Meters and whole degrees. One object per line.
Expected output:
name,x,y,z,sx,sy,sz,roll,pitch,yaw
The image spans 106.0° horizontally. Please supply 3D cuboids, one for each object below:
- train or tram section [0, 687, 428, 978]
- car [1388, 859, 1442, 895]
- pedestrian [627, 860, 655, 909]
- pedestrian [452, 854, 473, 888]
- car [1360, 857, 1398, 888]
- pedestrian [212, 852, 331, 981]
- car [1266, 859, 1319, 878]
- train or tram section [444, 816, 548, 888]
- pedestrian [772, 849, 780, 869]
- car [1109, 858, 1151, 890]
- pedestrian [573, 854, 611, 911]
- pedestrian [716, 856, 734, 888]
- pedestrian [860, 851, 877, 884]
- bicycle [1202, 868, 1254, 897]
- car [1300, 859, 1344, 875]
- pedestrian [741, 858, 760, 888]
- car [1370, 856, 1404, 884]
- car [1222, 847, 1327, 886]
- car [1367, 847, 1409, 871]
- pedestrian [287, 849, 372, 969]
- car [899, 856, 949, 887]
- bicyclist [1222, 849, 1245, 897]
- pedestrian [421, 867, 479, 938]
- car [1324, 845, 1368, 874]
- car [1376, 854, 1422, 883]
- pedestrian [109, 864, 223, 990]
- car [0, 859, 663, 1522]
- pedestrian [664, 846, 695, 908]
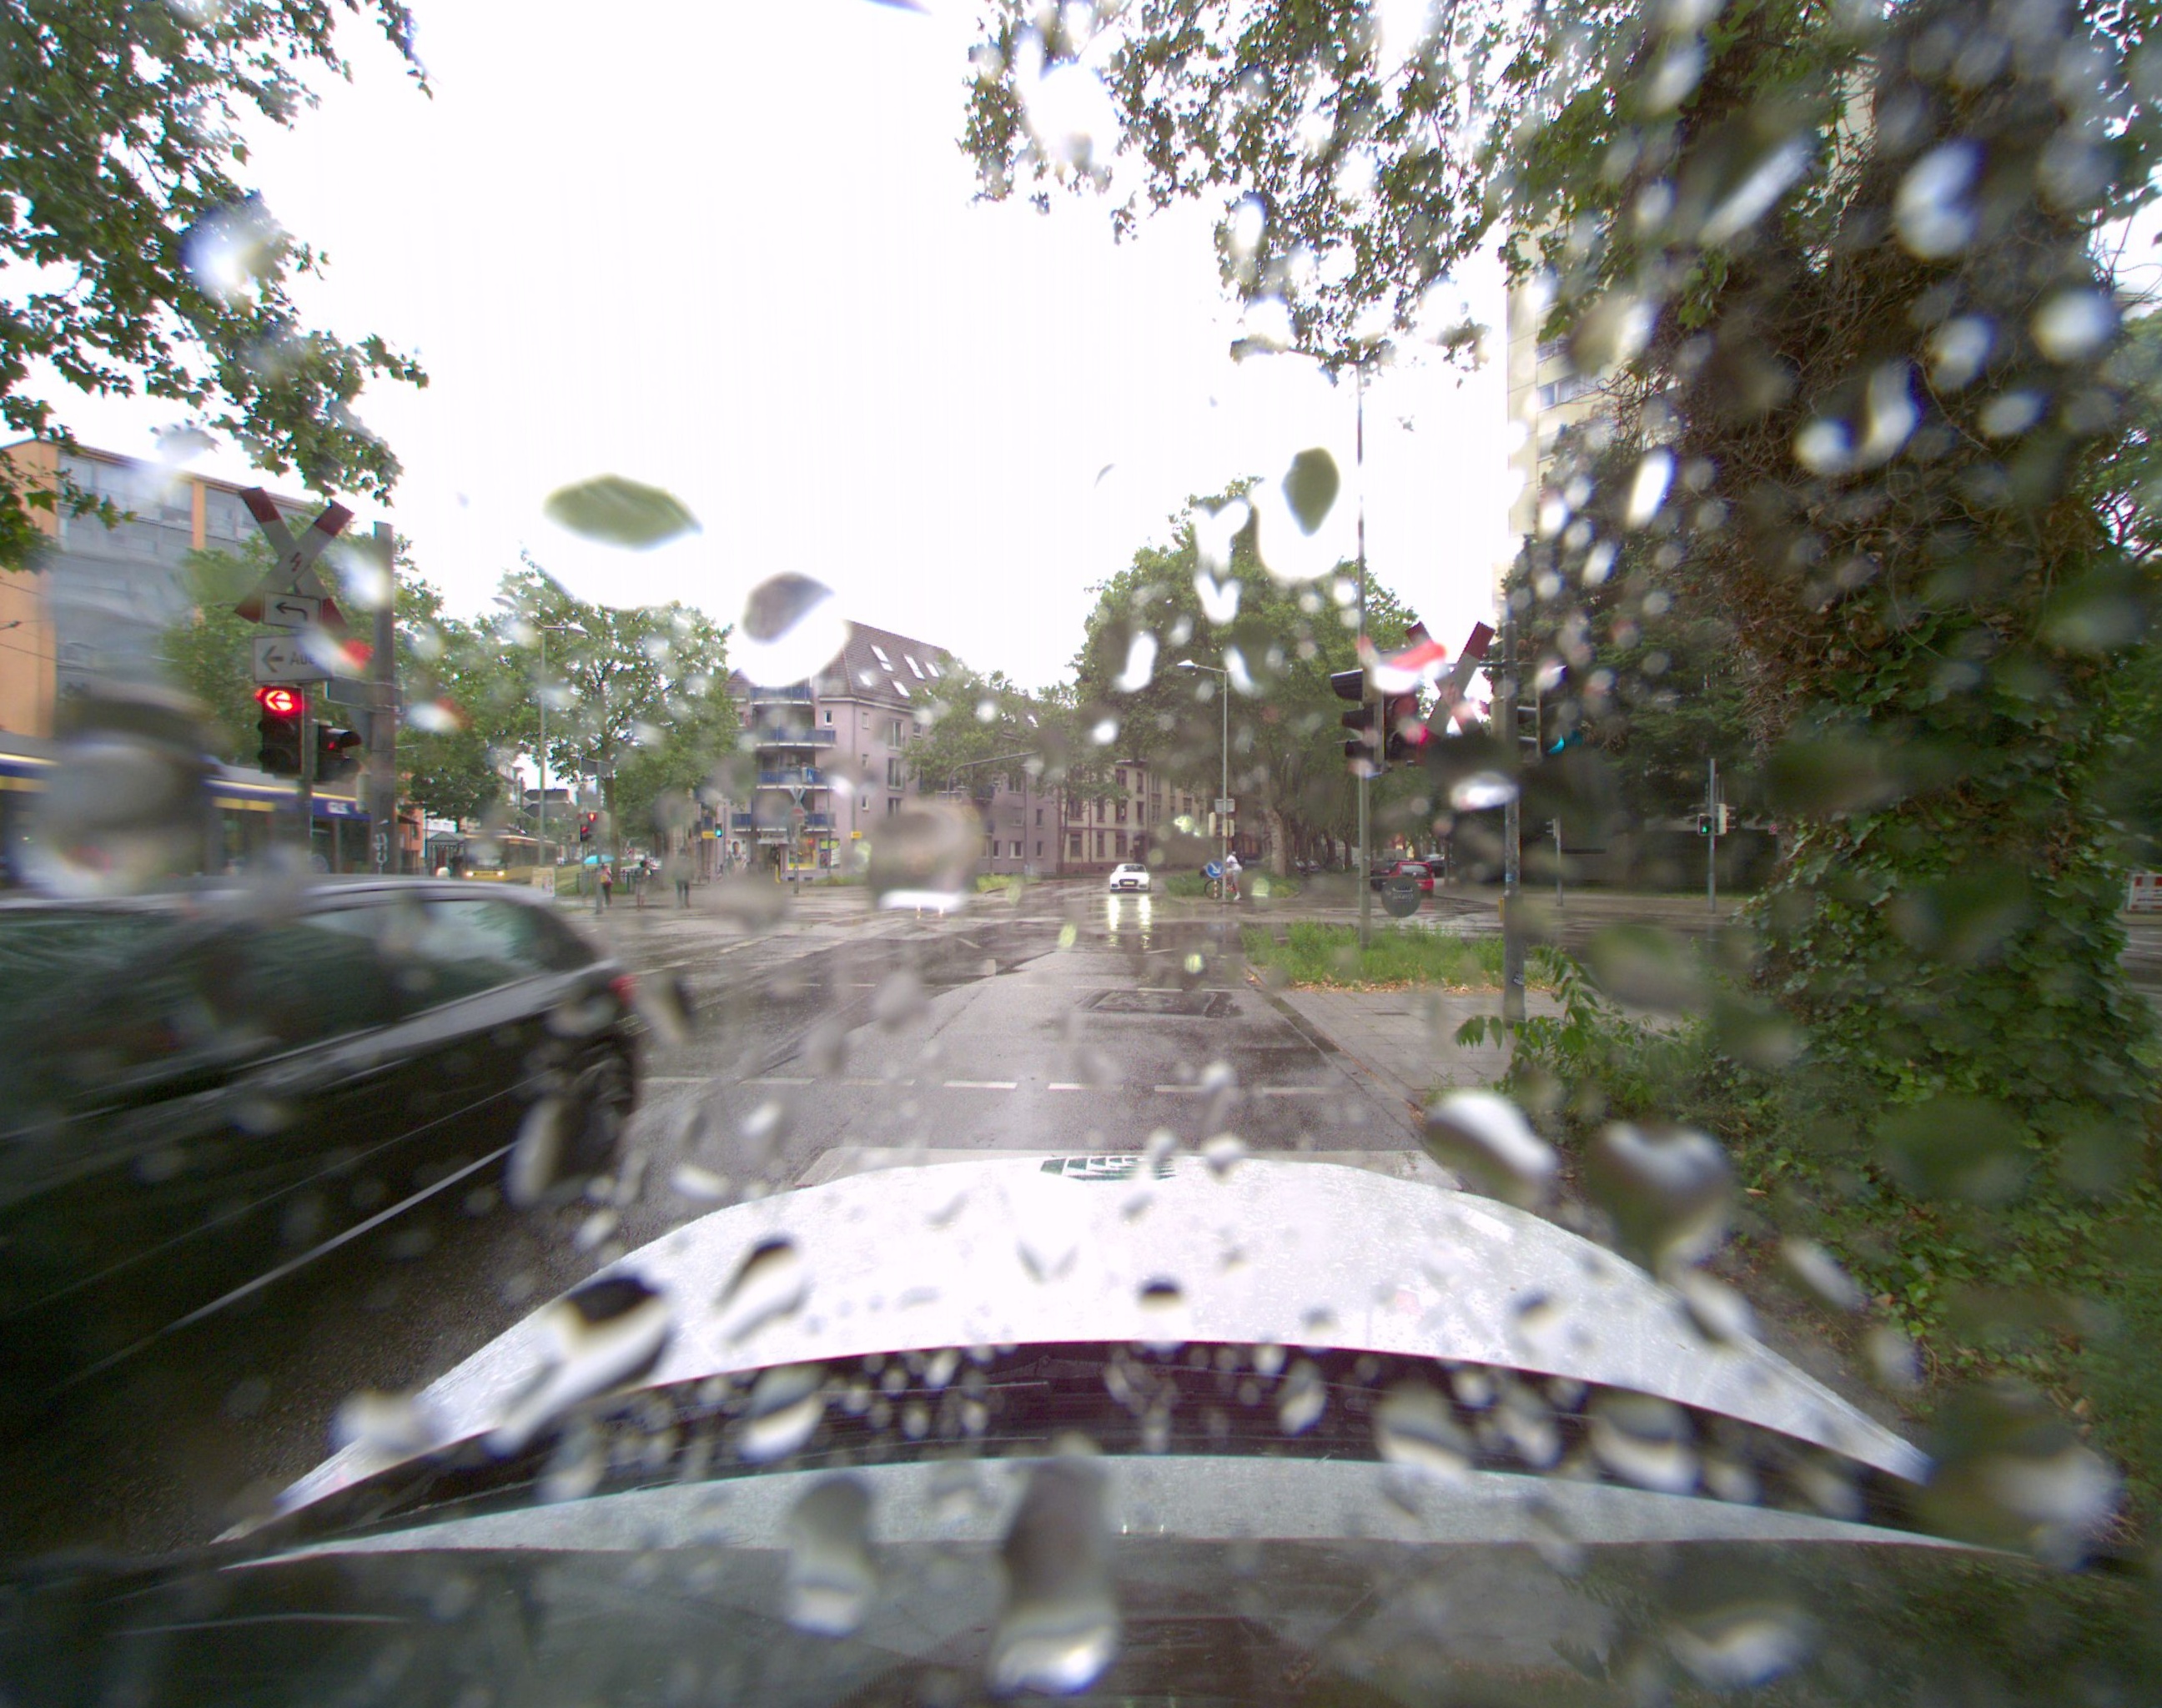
train or tram section,-15.477,-0.243,12.831,2.865,3.545,13.644,0,0,-15
car,14.821,0.979,36.336,1.778,1.498,4.017,0,0,16
pedestrian,-12.820,0.876,23.710,0.653,1.396,0.774,0,0,-33
pedestrian,-39.028,1.066,51.395,0.889,2.151,0.902,0,-1,-30
car,17.321,1.062,47.428,1.769,1.727,4.017,-1,-1,16
pedestrian,-10.748,0.801,10.847,0.728,1.624,0.816,-1,1,-5
car,16.925,1.184,65.210,3.958,1.486,2.008,-1,-1,14
train or tram section,-36.324,-0.020,51.320,2.897,3.768,17.089,0,-1,-28
pedestrian,-20.656,0.354,55.117,0.445,1.329,0.558,0,-1,-15
car,2.378,0.935,39.207,1.876,1.436,4.004,0,0,4
pedestrian,-15.628,0.895,26.055,0.962,1.766,0.944,0,-1,-28
pedestrian,-17.852,0.885,40.866,0.674,1.600,0.963,0,-1,-14
pedestrian,-13.886,0.872,53.244,0.913,2.151,0.880,0,-1,-25
bicycle,5.478,1.067,30.397,1.862,1.081,0.658,-1,-1,9
car,23.134,1.254,78.262,3.958,1.547,2.008,-1,-1,14
pedestrian,-16.915,0.957,41.692,0.749,1.533,0.789,0,-1,-9
car,21.166,1.088,56.469,1.908,1.806,4.017,-1,-1,16
car,7.748,0.516,32.665,3.958,1.486,2.008,-1,-1,14
car,38.987,0.642,103.569,2.006,2.948,4.726,0,-1,-29
pedestrian,-11.373,0.800,12.353,0.844,1.698,0.680,-4,3,-42
car,-8.011,0.853,41.844,1.745,1.512,3.839,0,0,1
bicyclist,5.685,0.713,30.369,0.790,1.786,0.699,-1,-1,9
pedestrian,-12.437,0.934,16.079,0.657,1.349,0.706,0,0,-12
car,28.320,0.588,87.218,2.040,2.948,4.742,0,-1,-18
car,15.890,0.695,40.872,1.770,1.348,3.945,0,1,16
pedestrian,-11.509,0.889,10.264,0.682,1.520,0.657,-1,0,-11
car,-3.232,0.755,2.712,1.708,1.459,3.748,0,-1,0
pedestrian,-12.208,0.677,24.789,0.791,1.855,0.676,0,0,-22
